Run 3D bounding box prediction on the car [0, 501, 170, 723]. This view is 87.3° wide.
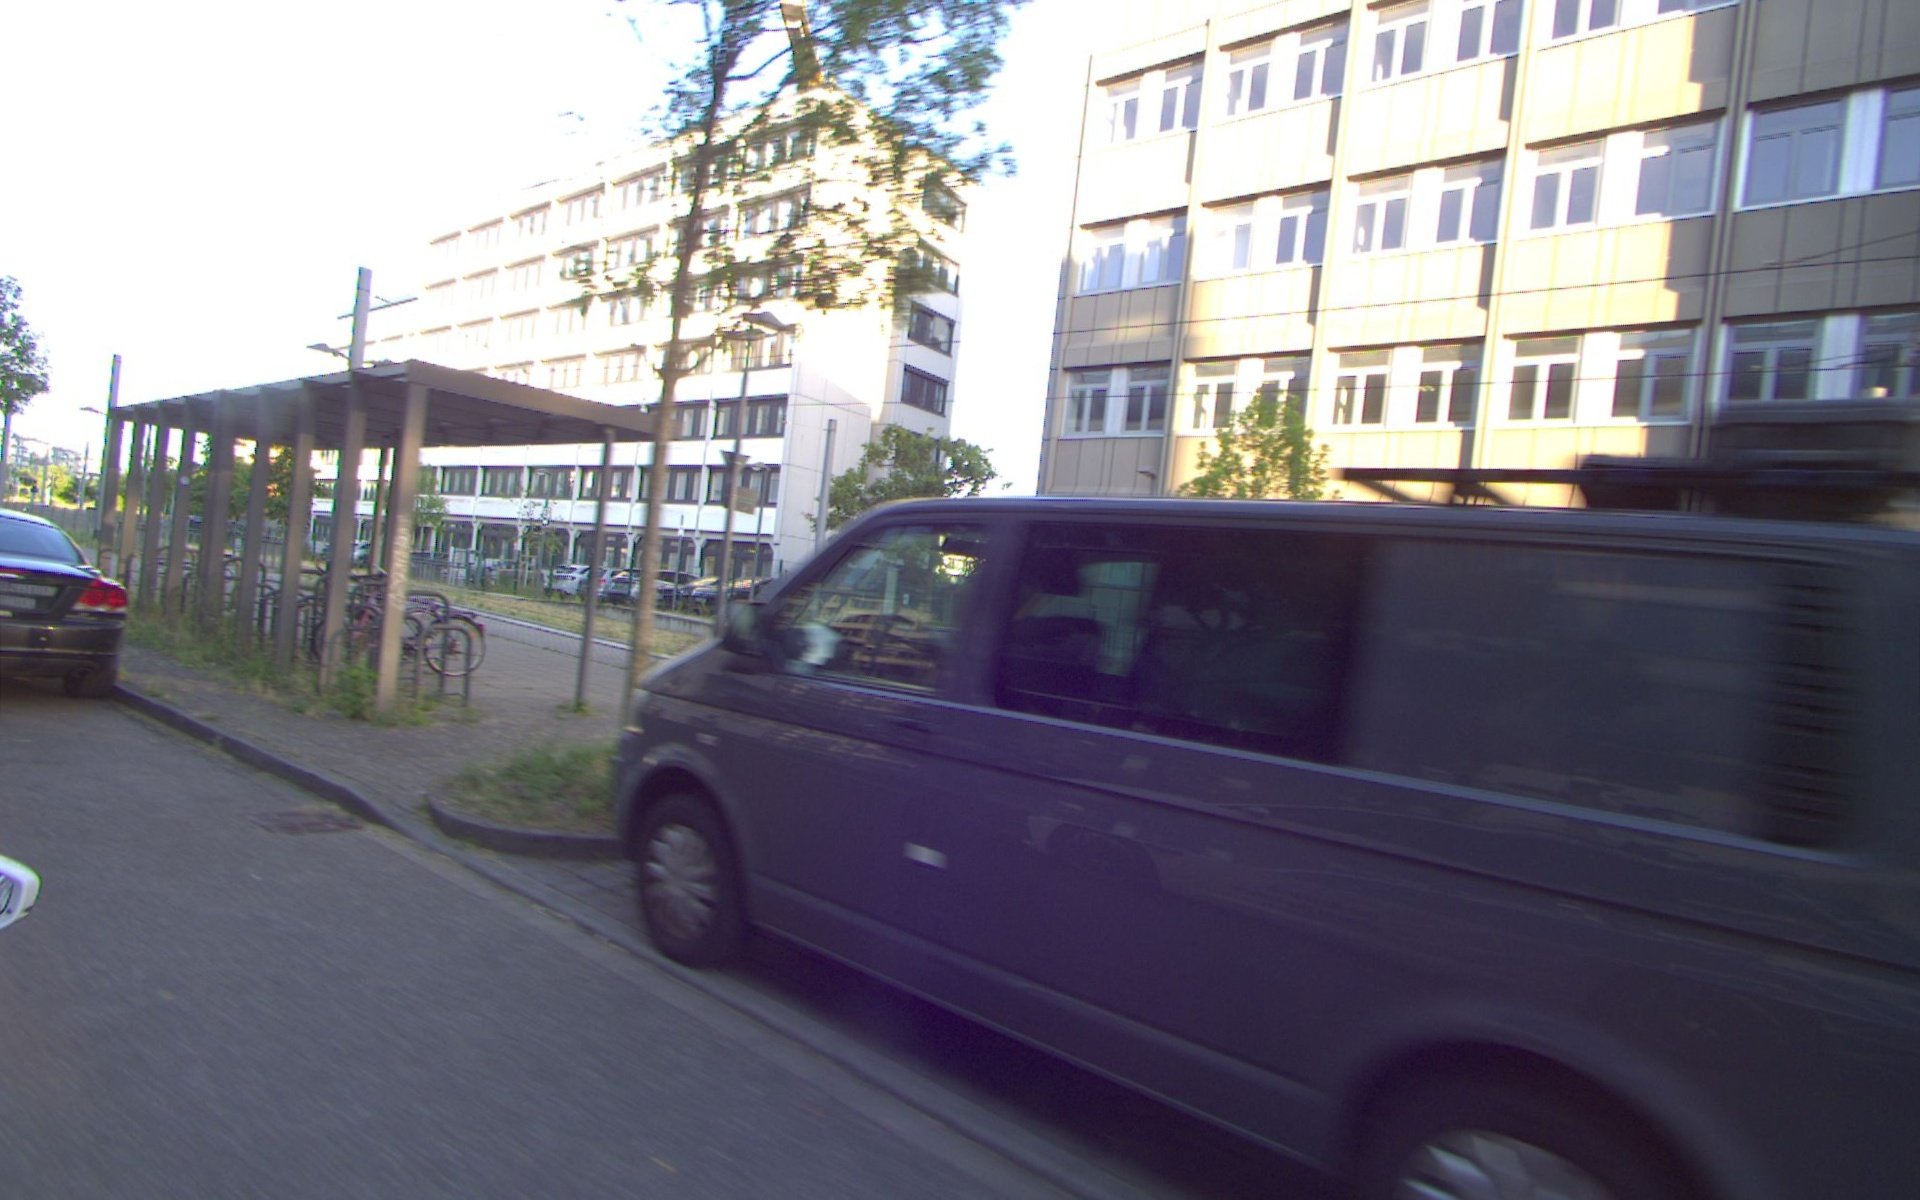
[{"bbox_3d":[-8.189,-0.113,7.987,4.445,1.469,1.788,6,-1,36],"label":"car"}]

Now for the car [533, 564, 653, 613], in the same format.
[{"bbox_3d":[-14.232,-0.435,39.177,1.797,1.533,3.983,7,1,37],"label":"car"}]

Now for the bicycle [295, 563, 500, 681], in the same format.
[{"bbox_3d":[-5.643,0.257,10.189,0.415,1.079,1.718,6,0,38],"label":"bicycle"}]

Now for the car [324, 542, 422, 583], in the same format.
[{"bbox_3d":[-30.481,-1.919,52.337,1.568,1.413,3.990,7,-3,37],"label":"car"}]

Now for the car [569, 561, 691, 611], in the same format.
[{"bbox_3d":[-12.170,-0.498,37.256,1.651,1.506,3.980,6,1,39],"label":"car"}]

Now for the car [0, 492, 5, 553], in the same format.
[{"bbox_3d":[-25.445,-2.082,23.674,1.891,1.539,4.001,5,0,4],"label":"car"}]

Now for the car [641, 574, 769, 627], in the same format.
[{"bbox_3d":[-8.625,0.041,34.265,1.651,1.506,3.980,6,1,39],"label":"car"}]

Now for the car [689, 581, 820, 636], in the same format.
[{"bbox_3d":[-6.632,0.300,32.788,1.651,1.506,3.980,6,1,39],"label":"car"}]

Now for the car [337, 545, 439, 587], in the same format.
[{"bbox_3d":[-28.351,-1.660,49.930,1.568,1.413,3.990,7,-3,37],"label":"car"}]

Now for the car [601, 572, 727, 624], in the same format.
[{"bbox_3d":[-10.447,-0.044,35.728,1.651,1.506,3.980,6,1,39],"label":"car"}]

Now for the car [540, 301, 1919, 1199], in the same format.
[{"bbox_3d":[0.598,0.469,3.699,4.666,2.205,1.802,6,1,38],"label":"car"}]

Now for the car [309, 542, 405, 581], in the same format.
[{"bbox_3d":[-32.194,-2.046,53.807,1.568,1.413,3.990,7,-3,37],"label":"car"}]

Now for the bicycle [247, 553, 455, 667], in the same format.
[{"bbox_3d":[-6.505,0.141,10.841,0.480,1.079,1.804,6,0,38],"label":"bicycle"}]
